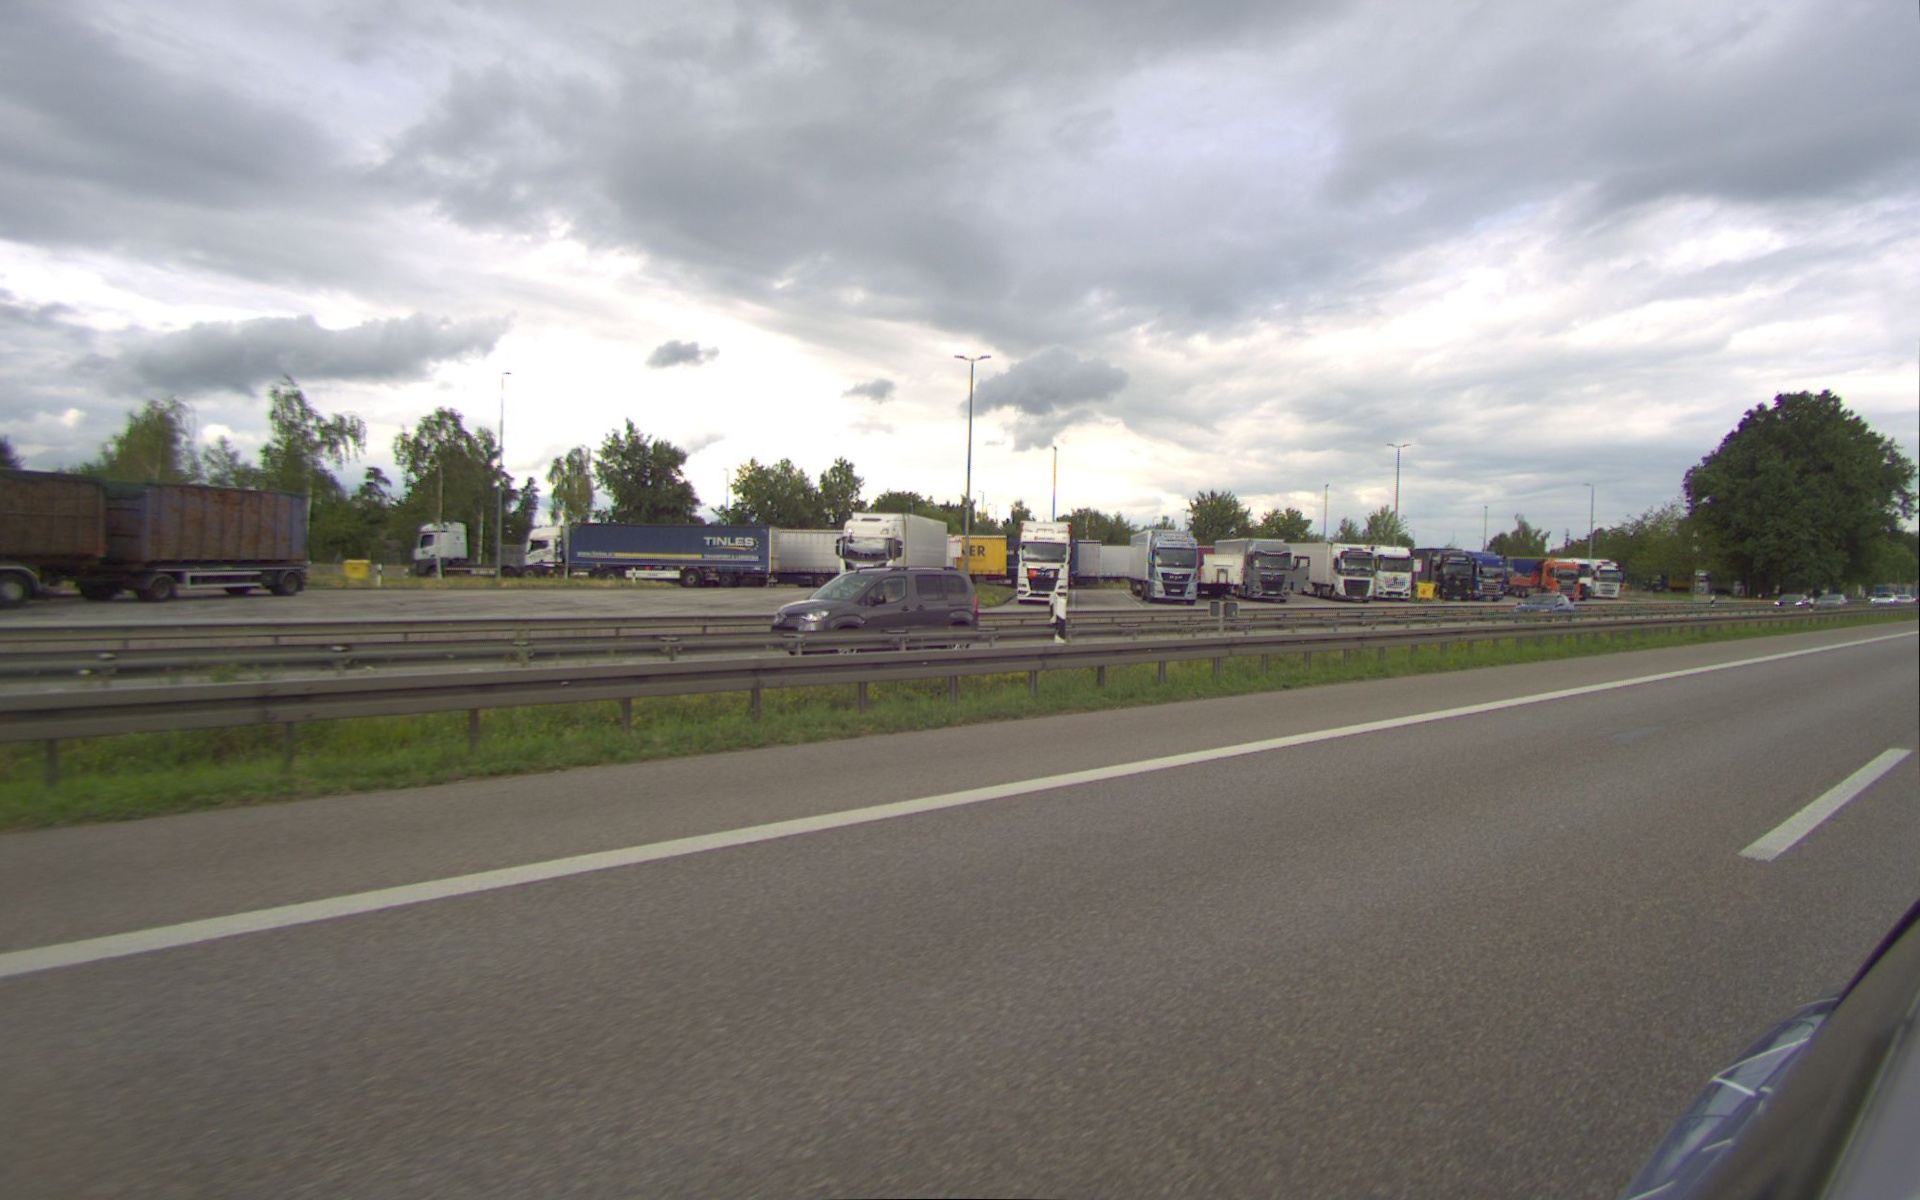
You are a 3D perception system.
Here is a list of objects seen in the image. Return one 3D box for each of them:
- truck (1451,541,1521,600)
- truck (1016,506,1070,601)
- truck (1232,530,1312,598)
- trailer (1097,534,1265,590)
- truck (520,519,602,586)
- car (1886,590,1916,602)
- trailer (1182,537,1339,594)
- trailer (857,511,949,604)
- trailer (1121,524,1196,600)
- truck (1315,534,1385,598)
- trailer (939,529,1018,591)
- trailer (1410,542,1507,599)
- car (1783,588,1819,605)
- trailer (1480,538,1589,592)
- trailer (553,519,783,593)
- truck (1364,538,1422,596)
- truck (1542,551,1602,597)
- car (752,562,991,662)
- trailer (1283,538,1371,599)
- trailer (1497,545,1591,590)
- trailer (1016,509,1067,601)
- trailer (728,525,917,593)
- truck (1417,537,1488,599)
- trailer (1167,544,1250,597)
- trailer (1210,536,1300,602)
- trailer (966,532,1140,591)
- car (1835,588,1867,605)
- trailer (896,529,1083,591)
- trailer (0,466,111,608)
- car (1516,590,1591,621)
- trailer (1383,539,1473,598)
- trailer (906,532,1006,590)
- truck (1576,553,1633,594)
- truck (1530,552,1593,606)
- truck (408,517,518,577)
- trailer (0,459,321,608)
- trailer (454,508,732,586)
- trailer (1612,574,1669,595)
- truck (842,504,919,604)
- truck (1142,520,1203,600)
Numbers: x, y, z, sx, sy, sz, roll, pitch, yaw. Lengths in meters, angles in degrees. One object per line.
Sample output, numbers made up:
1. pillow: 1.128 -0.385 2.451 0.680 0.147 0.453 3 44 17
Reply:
1. truck: 43.128 -2.381 83.259 3.007 4.614 6.076 -1 0 6
2. truck: 4.053 -2.167 49.645 2.467 4.382 4.899 -1 0 5
3. truck: 20.164 -2.226 65.929 3.486 4.136 7.642 -1 0 6
4. trailer: 19.724 -3.354 91.296 14.395 4.701 3.155 -1 0 5
5. truck: -25.959 -3.031 65.976 4.049 4.210 2.942 -1 0 5
6. car: 98.029 -0.432 105.443 3.810 1.258 1.827 0 2 -41
7. trailer: 28.188 -3.166 95.701 13.311 5.075 5.241 -1 0 5
8. trailer: -2.665 -1.957 52.222 2.568 4.125 13.521 -1 0 6
9. trailer: 12.114 -2.154 63.159 2.610 4.136 14.682 -1 0 4
10. truck: 27.065 -2.265 70.561 2.836 4.186 6.959 -1 0 7
11. trailer: 1.336 -2.875 73.116 5.532 4.348 1.999 1 1 2
12. trailer: 43.750 -2.430 89.434 3.010 4.637 13.635 -1 0 6
13. car: 63.834 -0.317 76.788 3.930 1.230 1.465 -1 2 -41
14. trailer: 54.685 -3.149 97.106 2.814 4.737 15.786 -1 0 6
15. trailer: -18.774 -2.761 65.397 14.141 4.444 2.949 -1 0 5
16. truck: 31.456 -2.346 73.700 2.651 4.107 4.787 -1 0 8
17. truck: 58.527 -2.417 96.932 2.623 4.201 5.920 -1 0 7
18. car: -1.664 0.168 20.072 4.513 1.778 1.832 0 2 -41
19. trailer: 27.944 -2.257 77.974 2.806 4.156 15.860 -1 0 7
20. trailer: 59.160 -3.139 103.069 2.617 4.165 14.046 -1 0 6
21. trailer: 4.678 -2.259 56.551 2.435 4.451 14.121 -1 0 6
22. trailer: -9.459 -2.818 70.159 12.641 4.336 2.629 2 0 2
23. truck: 38.880 -2.456 80.152 3.113 4.614 6.076 -1 0 6
24. trailer: 16.297 -1.830 67.529 3.533 3.150 13.725 -1 0 6
25. trailer: 20.928 -2.060 72.963 3.469 4.186 15.552 -1 0 6
26. trailer: 7.797 -3.183 85.902 14.395 4.701 3.155 -1 0 5
27. car: 72.641 -0.265 82.515 3.930 1.322 1.412 0 2 -41
28. trailer: 2.386 -3.195 81.982 14.783 4.701 2.871 -1 0 5
29. trailer: -30.270 -1.837 28.483 2.553 4.278 11.092 -1 1 6
30. car: 26.092 0.208 44.471 3.484 1.274 1.795 -1 0 -41
31. trailer: 39.548 -2.515 86.112 3.109 4.649 12.389 -1 0 6
32. trailer: -0.276 -2.991 77.923 7.596 4.348 1.999 1 1 2
33. truck: 66.921 -2.659 105.258 2.781 4.112 6.429 -1 0 11
34. truck: 54.089 -1.874 91.109 2.827 4.683 5.165 -1 0 5
35. truck: -30.485 -3.219 62.218 5.528 3.483 2.656 -1 0 3
36. trailer: -25.964 -1.892 31.420 2.701 3.889 13.187 1 2 7
37. trailer: -22.312 -3.191 61.854 16.201 4.444 2.634 -1 0 2
38. trailer: 115.635 -2.570 172.057 7.452 3.502 2.919 -1 0 4
39. truck: -3.438 -1.946 44.755 2.569 4.187 4.526 -1 0 6
40. truck: 11.637 -2.120 55.719 2.593 4.183 4.790 -1 0 4
